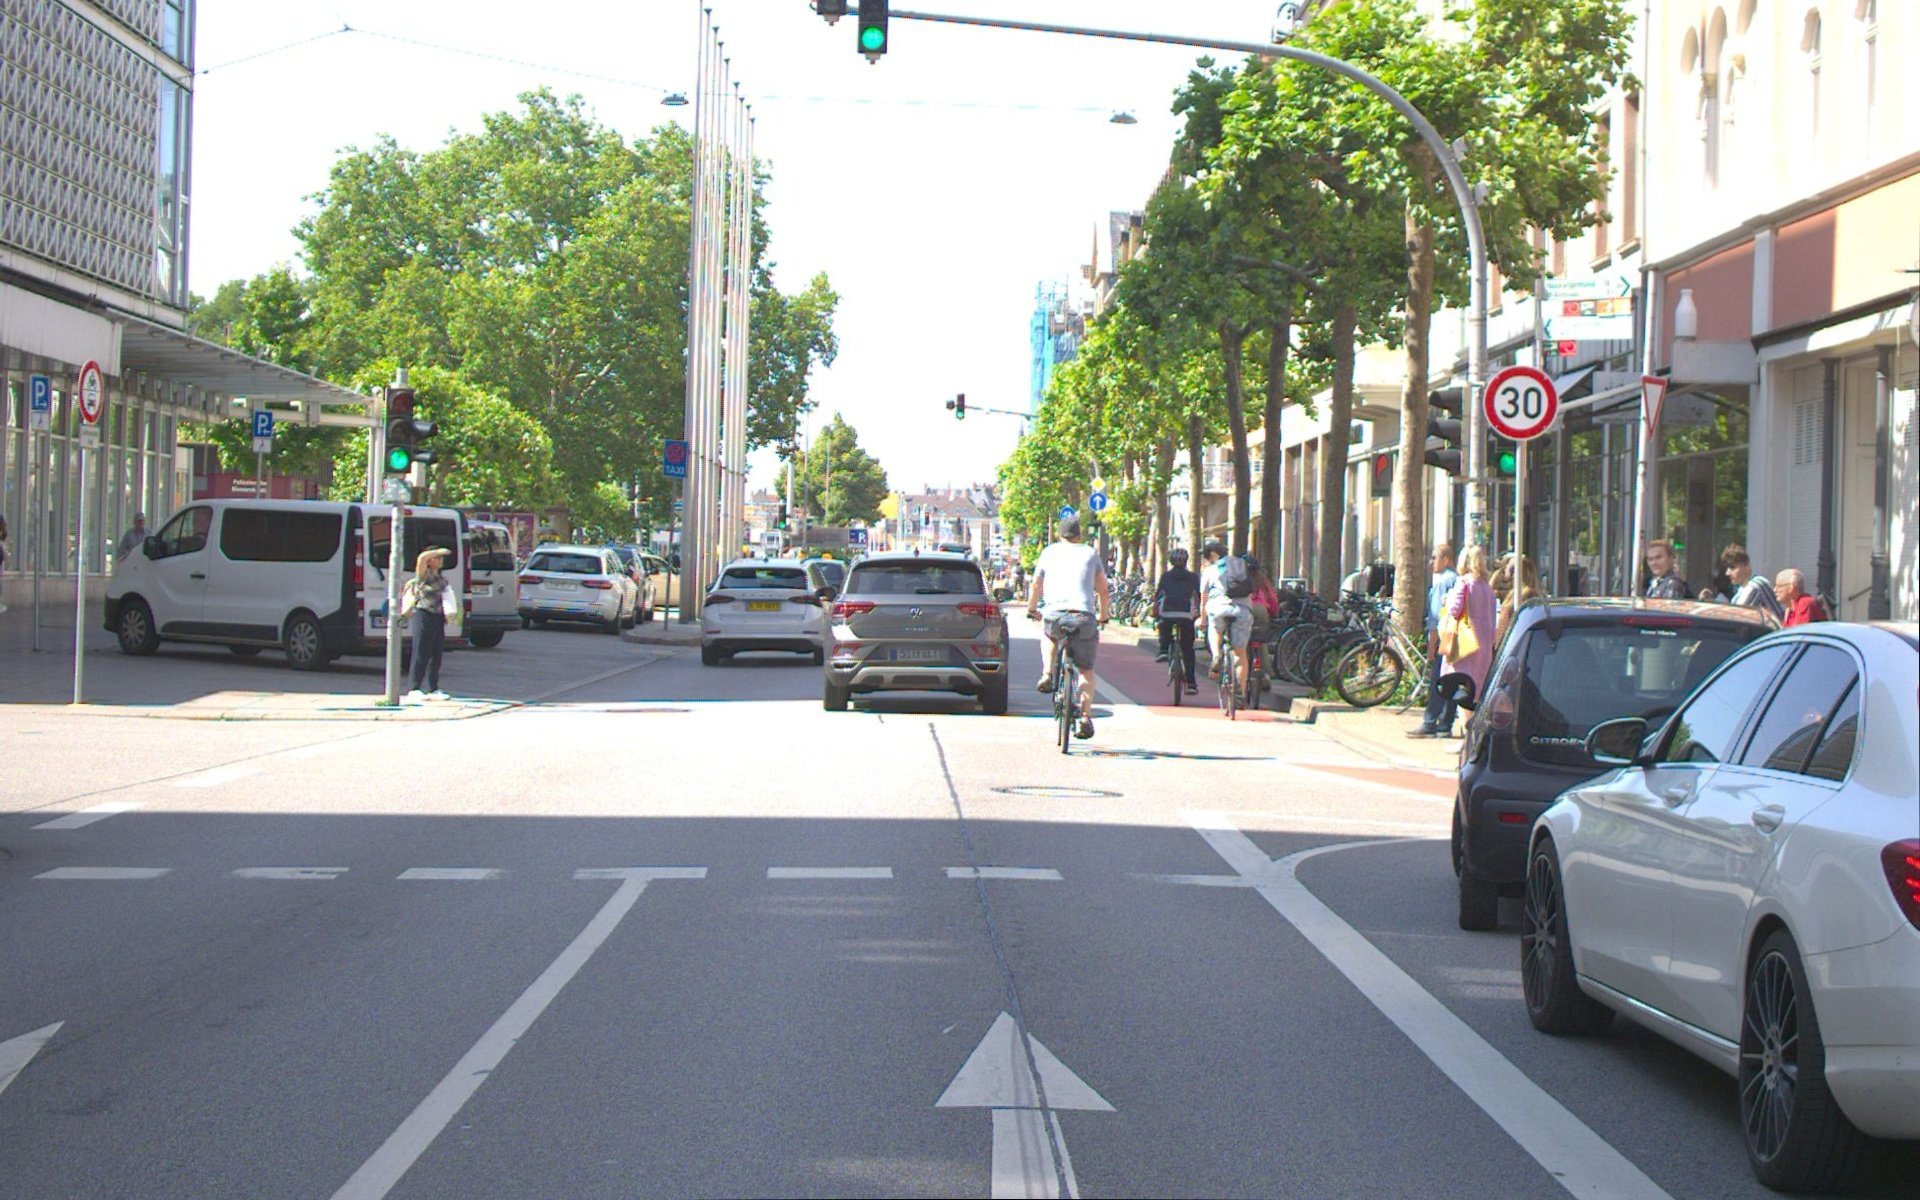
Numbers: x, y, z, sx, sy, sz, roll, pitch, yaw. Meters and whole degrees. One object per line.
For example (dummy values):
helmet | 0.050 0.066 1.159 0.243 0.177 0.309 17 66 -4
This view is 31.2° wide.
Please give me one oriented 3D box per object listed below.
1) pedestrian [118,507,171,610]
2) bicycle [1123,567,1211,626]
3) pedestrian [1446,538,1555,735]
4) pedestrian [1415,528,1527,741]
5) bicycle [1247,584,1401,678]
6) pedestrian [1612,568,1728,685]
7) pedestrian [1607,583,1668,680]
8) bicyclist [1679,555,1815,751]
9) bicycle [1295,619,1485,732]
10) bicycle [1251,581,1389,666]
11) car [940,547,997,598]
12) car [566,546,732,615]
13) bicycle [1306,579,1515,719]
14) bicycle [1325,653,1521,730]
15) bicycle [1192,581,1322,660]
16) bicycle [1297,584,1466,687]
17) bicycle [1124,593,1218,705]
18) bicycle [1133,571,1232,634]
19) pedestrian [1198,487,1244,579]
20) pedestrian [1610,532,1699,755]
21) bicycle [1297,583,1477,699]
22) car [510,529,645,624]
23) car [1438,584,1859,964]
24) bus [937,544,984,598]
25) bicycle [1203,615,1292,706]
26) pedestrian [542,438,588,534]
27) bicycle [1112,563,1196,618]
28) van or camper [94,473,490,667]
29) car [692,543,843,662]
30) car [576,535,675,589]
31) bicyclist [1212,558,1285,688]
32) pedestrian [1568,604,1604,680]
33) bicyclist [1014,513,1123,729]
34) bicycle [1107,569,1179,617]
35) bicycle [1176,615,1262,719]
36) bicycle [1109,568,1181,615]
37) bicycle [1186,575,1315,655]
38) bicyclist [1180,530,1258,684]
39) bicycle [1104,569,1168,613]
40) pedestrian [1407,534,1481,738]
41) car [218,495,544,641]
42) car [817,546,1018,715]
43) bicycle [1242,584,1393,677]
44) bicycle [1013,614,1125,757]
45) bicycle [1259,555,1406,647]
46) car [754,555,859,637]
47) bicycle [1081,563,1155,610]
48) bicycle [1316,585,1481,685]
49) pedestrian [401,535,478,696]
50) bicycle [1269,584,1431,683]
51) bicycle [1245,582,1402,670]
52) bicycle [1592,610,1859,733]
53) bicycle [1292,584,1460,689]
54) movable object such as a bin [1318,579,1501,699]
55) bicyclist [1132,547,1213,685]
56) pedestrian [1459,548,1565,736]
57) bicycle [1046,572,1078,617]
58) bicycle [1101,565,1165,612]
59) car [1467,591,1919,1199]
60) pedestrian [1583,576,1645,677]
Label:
pedestrian | -12.595 -0.643 53.088 0.678 1.554 0.641 1 1 -5
bicycle | 4.532 -0.082 75.114 1.840 1.182 0.670 3 0 5
pedestrian | 5.060 0.336 32.224 0.787 1.789 0.641 3 1 -3
pedestrian | 4.244 0.291 28.596 0.639 1.703 0.790 -4 -2 -4
bicycle | 4.523 0.386 42.818 1.840 1.123 0.666 1 0 2
pedestrian | 8.763 0.329 42.449 1.233 1.417 0.790 1 -1 -3
pedestrian | 8.790 0.409 44.630 0.639 1.249 0.609 0 0 -3
bicyclist | 5.745 0.380 25.121 0.859 1.406 0.501 1 1 1
bicycle | 4.559 0.805 36.505 1.851 0.395 1.019 10 -34 4
bicycle | 4.967 0.321 47.446 1.840 1.123 0.448 1 -1 3
car | 0.291 -0.988 121.108 1.845 1.662 4.000 3 1 -1
car | -7.880 -0.527 87.488 1.894 1.536 4.855 3 3 27
bicycle | 4.413 0.465 33.770 1.855 1.184 0.715 6 4 38
bicycle | 4.792 0.960 35.704 1.136 0.432 1.856 -10 -3 -26
bicycle | 4.448 0.301 51.592 1.840 1.089 0.564 3 0 0
bicycle | 4.823 0.406 39.382 1.840 1.123 0.666 1 0 2
bicycle | 2.259 0.511 36.997 0.698 1.123 2.082 3 0 -4
bicycle | 4.356 0.044 67.352 1.841 1.123 0.497 3 0 11
pedestrian | 4.954 -1.277 65.298 0.639 1.683 0.843 4 1 -3
pedestrian | 5.892 0.370 29.163 0.639 1.837 0.614 3 0 11
bicycle | 4.634 0.438 37.302 1.841 1.123 0.345 4 2 15
car | -6.672 -0.437 60.411 1.799 1.518 4.739 3 1 0
car | 3.072 0.721 15.841 1.629 1.473 3.730 2 0 9
bus | -0.022 -2.010 241.687 2.995 3.582 11.745 2 0 -1
bicycle | 3.076 0.635 36.944 0.600 0.923 2.088 3 0 -4
pedestrian | -7.577 -2.192 65.974 0.532 1.786 0.538 2 -2 39
bicycle | 4.633 -0.221 82.212 1.931 1.244 0.736 2 0 2
van or camper | -7.946 -0.373 40.684 4.656 2.006 1.995 4 2 39
car | -2.622 0.005 47.659 1.845 1.554 4.000 1 1 0
car | -12.999 -1.468 133.789 1.861 1.948 4.755 2 0 21
bicyclist | 3.095 0.243 36.943 0.600 1.353 0.721 3 -1 -4
pedestrian | 8.146 0.540 44.752 0.364 0.965 0.437 2 1 1
bicyclist | 0.835 0.155 26.689 0.774 1.629 0.851 1 1 0
bicycle | 4.546 -0.176 85.380 1.728 1.105 0.477 2 0 2
bicycle | 2.534 0.642 33.781 0.630 0.977 2.089 1 0 -1
bicycle | 4.540 -0.213 84.546 1.728 1.105 0.402 2 0 2
bicycle | 4.547 0.236 53.805 1.839 1.123 0.632 4 0 -10
bicyclist | 2.545 0.069 33.894 0.630 1.476 1.198 1 -1 -1
bicycle | 4.617 -0.232 90.165 1.649 1.091 0.607 2 0 2
pedestrian | 4.342 0.313 30.868 0.452 1.789 0.608 3 1 -3
car | -8.258 -0.475 48.911 4.441 1.903 2.005 3 2 36
car | -0.480 0.252 34.036 1.845 1.554 4.001 1 1 -3
bicycle | 4.514 0.381 43.512 1.840 1.123 0.530 1 -1 2
bicycle | 0.827 0.638 26.713 0.774 1.002 2.329 1 1 0
bicycle | 4.825 0.002 44.540 1.840 1.123 0.679 2 1 7
car | -2.858 -0.097 64.549 1.845 1.444 4.000 1 1 -1
bicycle | 4.486 -0.392 97.826 1.932 1.253 0.705 2 0 -19
bicycle | 5.143 0.408 40.352 1.840 1.123 0.666 1 0 2
pedestrian | -5.177 0.150 34.186 0.639 1.554 0.681 3 1 -12
bicycle | 4.638 0.397 40.959 1.840 1.123 0.643 1 0 2
bicycle | 4.859 0.347 45.932 1.987 1.123 0.761 1 -1 13
bicycle | 5.586 0.518 25.122 1.821 0.841 0.501 1 1 1
bicycle | 4.669 0.408 38.596 1.840 1.123 0.666 1 0 7
movable object such as a bin | 4.935 0.418 37.742 1.852 1.185 0.652 4 1 15
bicyclist | 2.282 0.168 36.950 0.698 1.436 0.791 3 0 -4
pedestrian | 5.060 0.378 31.524 0.787 1.685 0.641 2 1 -3
bicycle | 2.370 -0.140 79.750 0.647 0.994 2.031 1 1 0
bicycle | 4.608 -0.304 91.687 1.649 1.197 0.474 2 0 2
car | 2.904 0.772 9.945 1.952 1.420 4.887 3 1 -2
pedestrian | 8.820 0.352 46.369 0.681 1.328 0.532 2 1 -2
